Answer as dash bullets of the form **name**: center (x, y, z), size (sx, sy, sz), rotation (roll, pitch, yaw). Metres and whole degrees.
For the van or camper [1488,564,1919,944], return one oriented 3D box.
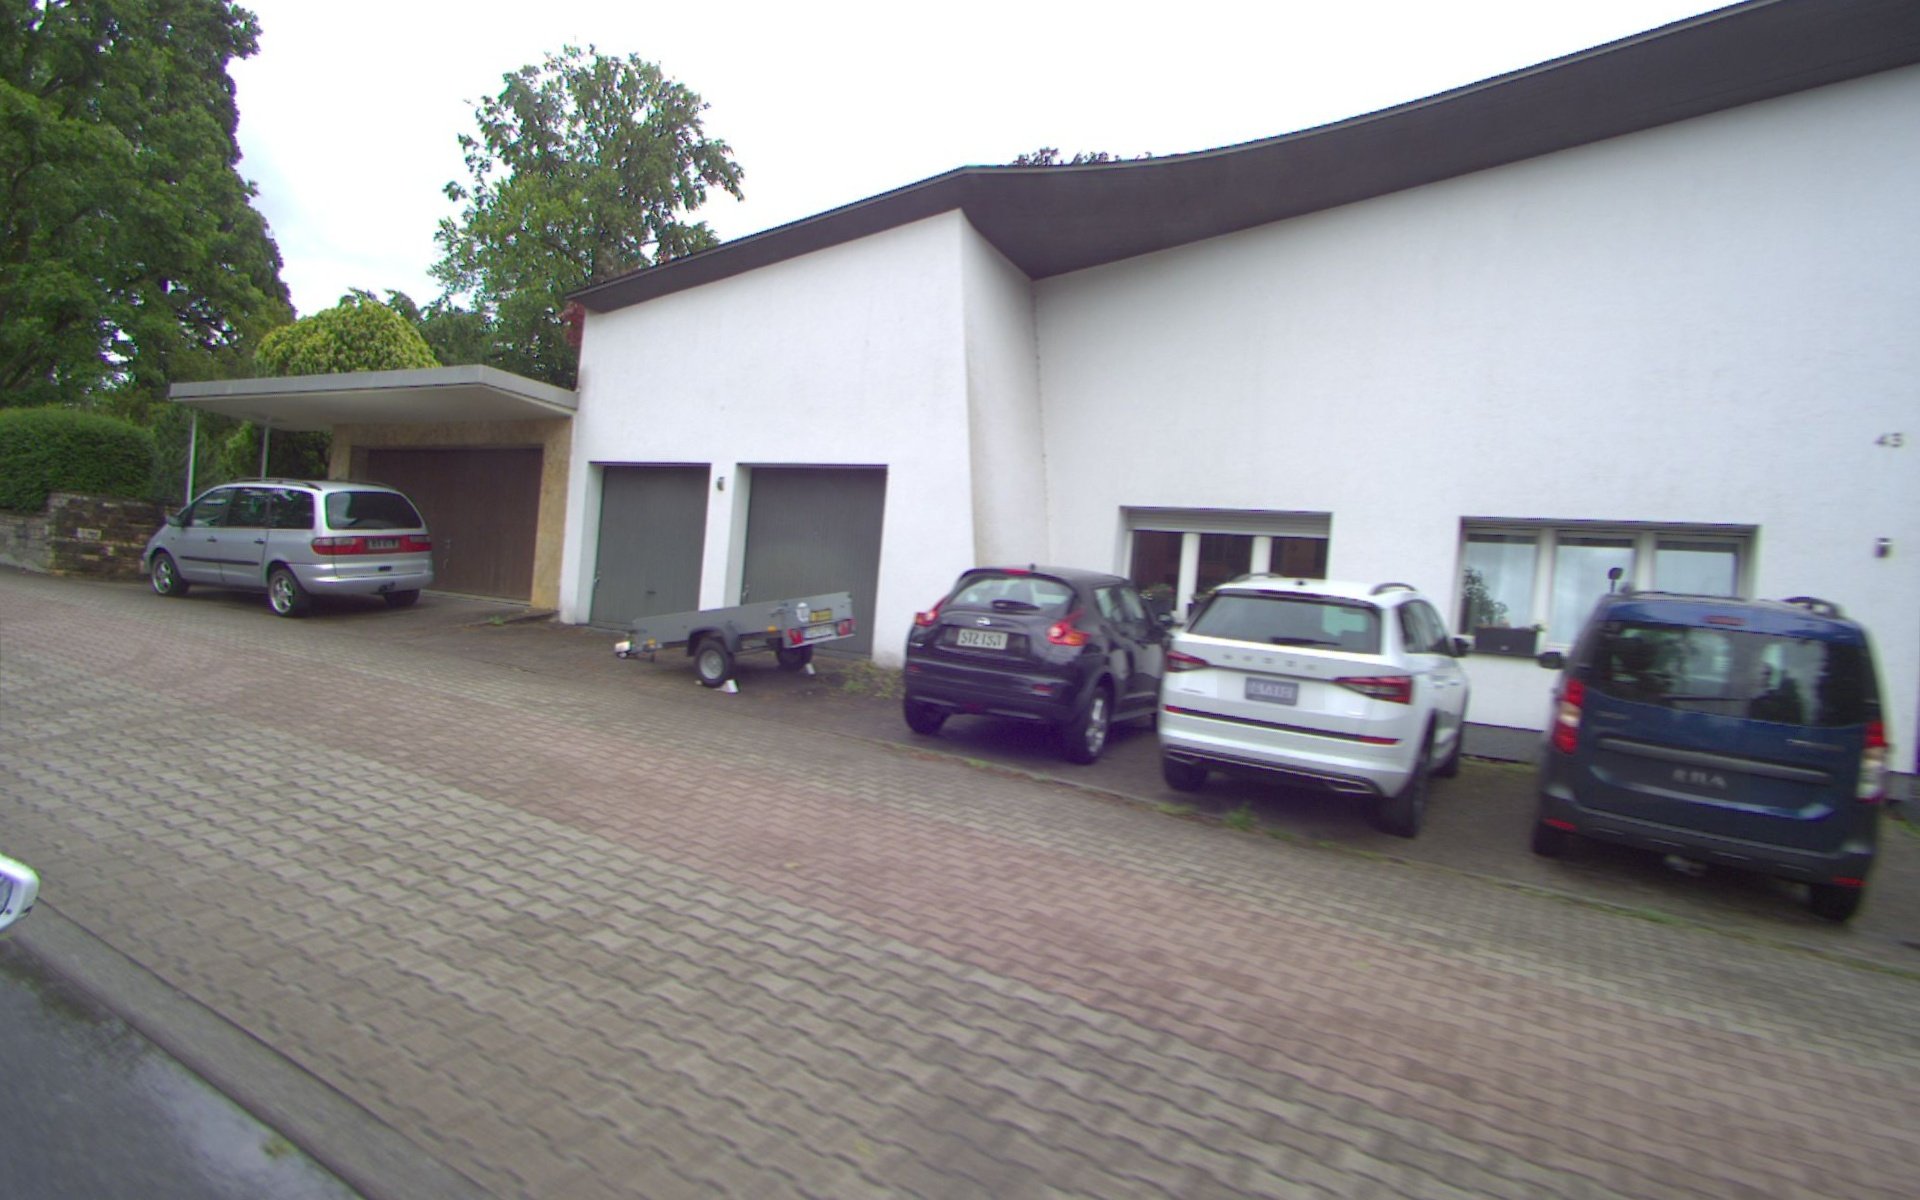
- **van or camper**: center (5.253, 0.829, 7.348), size (1.916, 1.812, 4.012), rotation (7, 3, 33)

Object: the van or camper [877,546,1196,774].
- **van or camper**: center (0.894, 0.455, 9.421), size (1.738, 1.576, 3.406), rotation (7, 2, 26)

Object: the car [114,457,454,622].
- **car**: center (-9.741, -0.891, 14.412), size (4.856, 1.779, 1.798), rotation (7, 1, 27)

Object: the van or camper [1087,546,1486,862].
- **van or camper**: center (2.853, 0.624, 8.094), size (2.088, 1.700, 3.988), rotation (7, 2, 31)

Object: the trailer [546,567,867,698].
- **trailer**: center (-2.759, 0.272, 10.890), size (3.217, 0.935, 1.418), rotation (6, 7, 26)
